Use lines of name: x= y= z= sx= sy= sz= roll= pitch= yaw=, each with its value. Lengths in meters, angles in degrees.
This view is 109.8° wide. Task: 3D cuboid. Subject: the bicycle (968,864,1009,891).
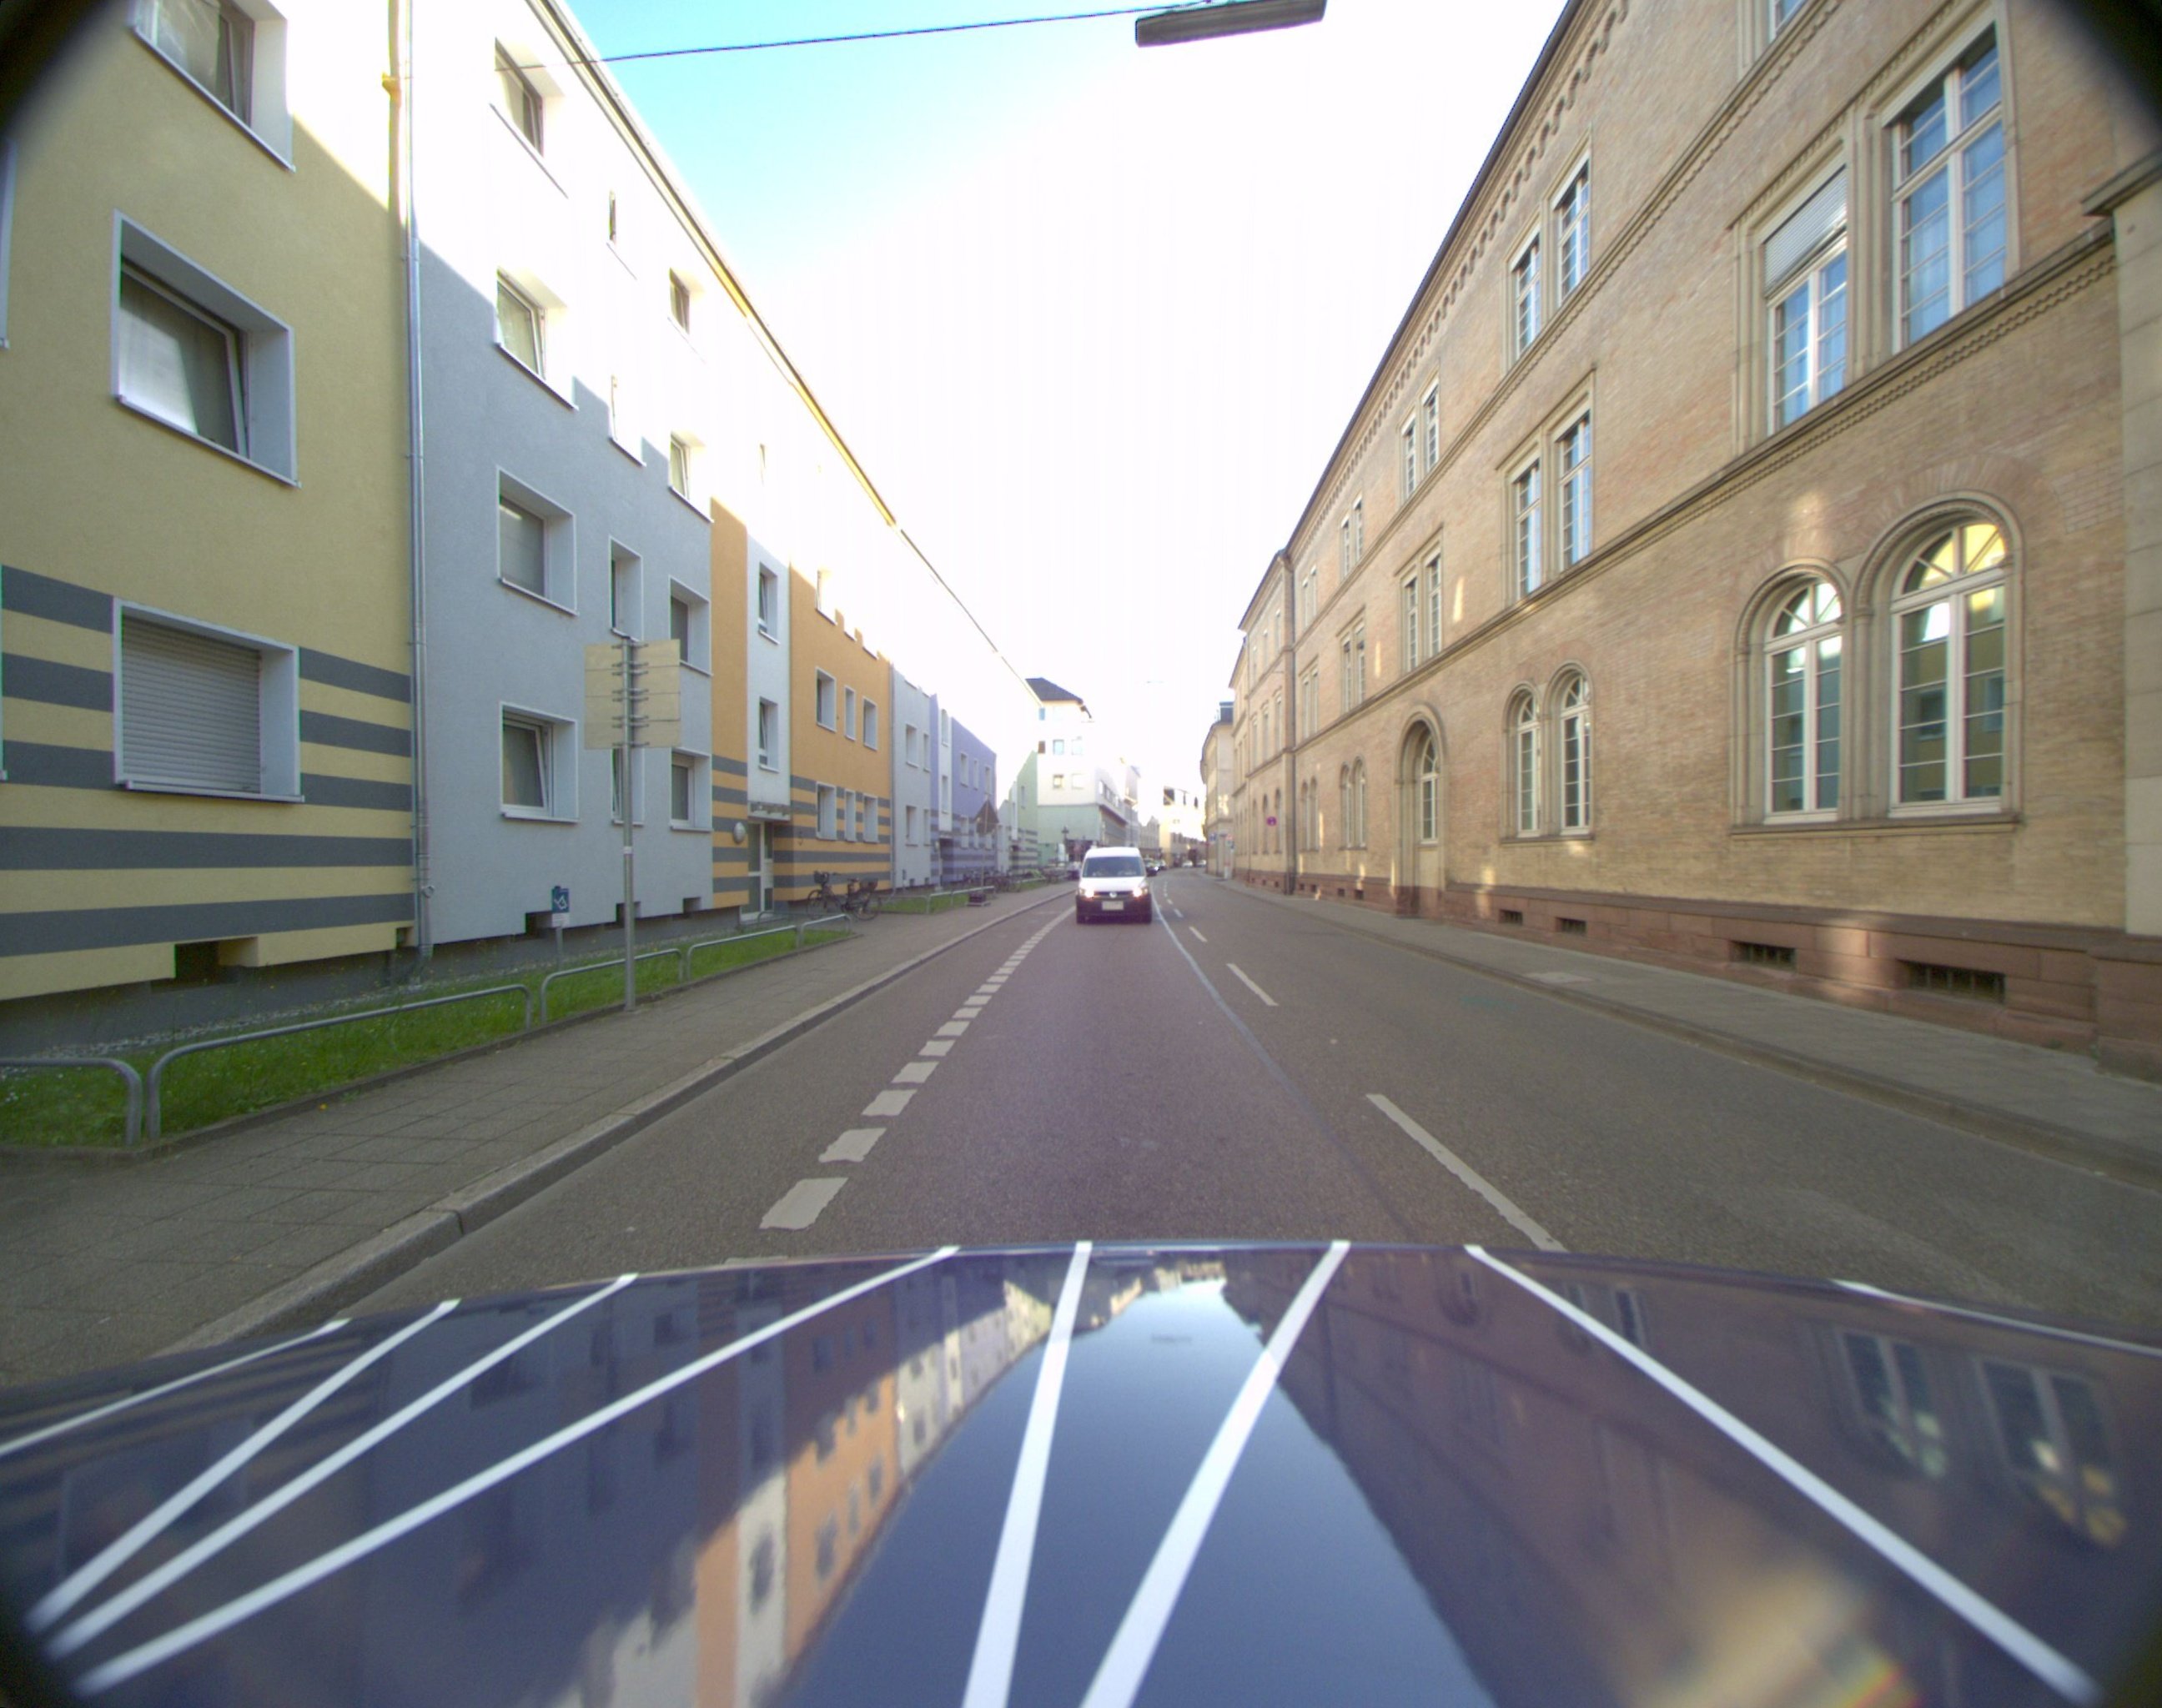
bicycle: x=-4.036 y=1.016 z=33.121 sx=1.676 sy=1.145 sz=0.484 roll=0 pitch=0 yaw=4

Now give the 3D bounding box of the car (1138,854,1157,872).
car: x=9.405 y=1.243 z=107.076 sx=2.103 sy=2.263 sz=5.506 roll=-2 pitch=1 yaw=11

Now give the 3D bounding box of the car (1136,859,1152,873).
car: x=8.370 y=1.601 z=100.941 sx=1.998 sy=1.643 sz=4.230 roll=-2 pitch=1 yaw=6

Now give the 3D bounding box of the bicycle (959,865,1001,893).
bicycle: x=-4.241 y=1.042 z=31.828 sx=1.676 sy=1.145 sz=0.484 roll=0 pitch=0 yaw=4

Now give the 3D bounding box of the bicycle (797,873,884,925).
bicycle: x=-5.389 y=1.009 z=17.091 sx=1.780 sy=1.116 sz=0.484 roll=0 pitch=0 yaw=-5

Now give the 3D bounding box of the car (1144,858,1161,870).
car: x=10.668 y=1.436 z=112.989 sx=1.997 sy=1.643 sz=4.231 roll=-2 pitch=1 yaw=10

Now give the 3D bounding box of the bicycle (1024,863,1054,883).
bicycle: x=-2.522 y=1.150 z=46.038 sx=1.779 sy=1.145 sz=0.484 roll=0 pitch=0 yaw=0

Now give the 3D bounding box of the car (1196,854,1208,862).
car: x=26.081 y=0.807 z=163.741 sx=1.996 sy=1.643 sz=4.233 roll=-2 pitch=1 yaw=17

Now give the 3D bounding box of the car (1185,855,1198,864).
car: x=22.098 y=1.089 z=152.010 sx=1.996 sy=1.643 sz=4.233 roll=-2 pitch=1 yaw=17

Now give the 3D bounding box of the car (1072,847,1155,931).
car: x=0.803 y=0.733 z=18.990 sx=1.769 sy=1.761 sz=5.332 roll=-1 pitch=1 yaw=2

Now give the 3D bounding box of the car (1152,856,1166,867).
car: x=12.638 y=1.194 z=122.688 sx=1.997 sy=1.643 sz=4.231 roll=-2 pitch=1 yaw=9

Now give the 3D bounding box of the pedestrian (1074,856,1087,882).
pedestrian: x=-0.014 y=0.957 z=48.295 sx=0.705 sy=1.627 sz=0.833 roll=2 pitch=2 yaw=5

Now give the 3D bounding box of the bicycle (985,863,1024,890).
bicycle: x=-3.377 y=0.999 z=33.667 sx=1.676 sy=1.145 sz=0.484 roll=0 pitch=0 yaw=4
